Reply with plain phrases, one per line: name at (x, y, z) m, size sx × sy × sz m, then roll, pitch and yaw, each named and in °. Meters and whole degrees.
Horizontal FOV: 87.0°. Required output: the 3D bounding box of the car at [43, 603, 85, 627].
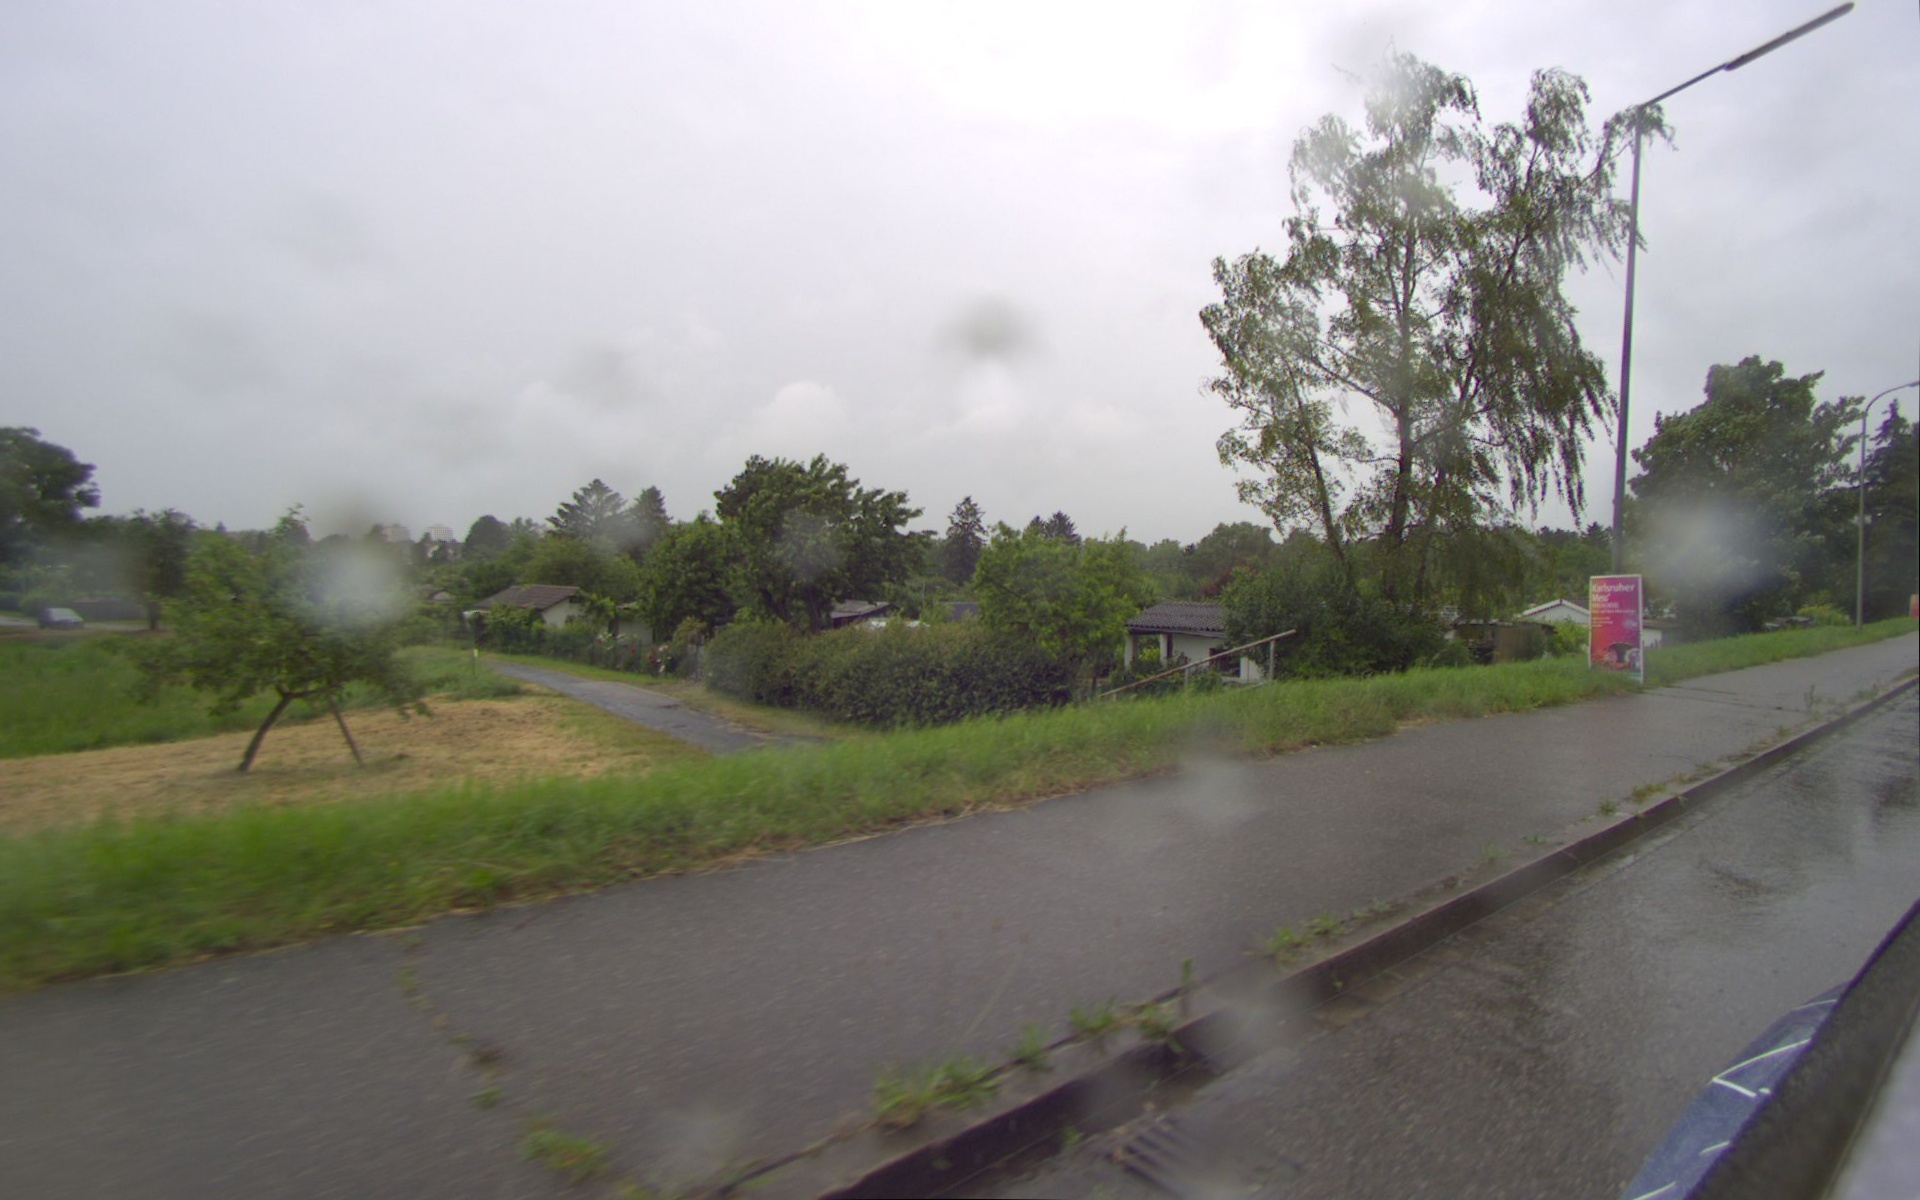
car at (-61.401, 0.985, 69.309) m, size 3.986 × 1.529 × 1.772 m, roll 1°, pitch 1°, yaw 43°
